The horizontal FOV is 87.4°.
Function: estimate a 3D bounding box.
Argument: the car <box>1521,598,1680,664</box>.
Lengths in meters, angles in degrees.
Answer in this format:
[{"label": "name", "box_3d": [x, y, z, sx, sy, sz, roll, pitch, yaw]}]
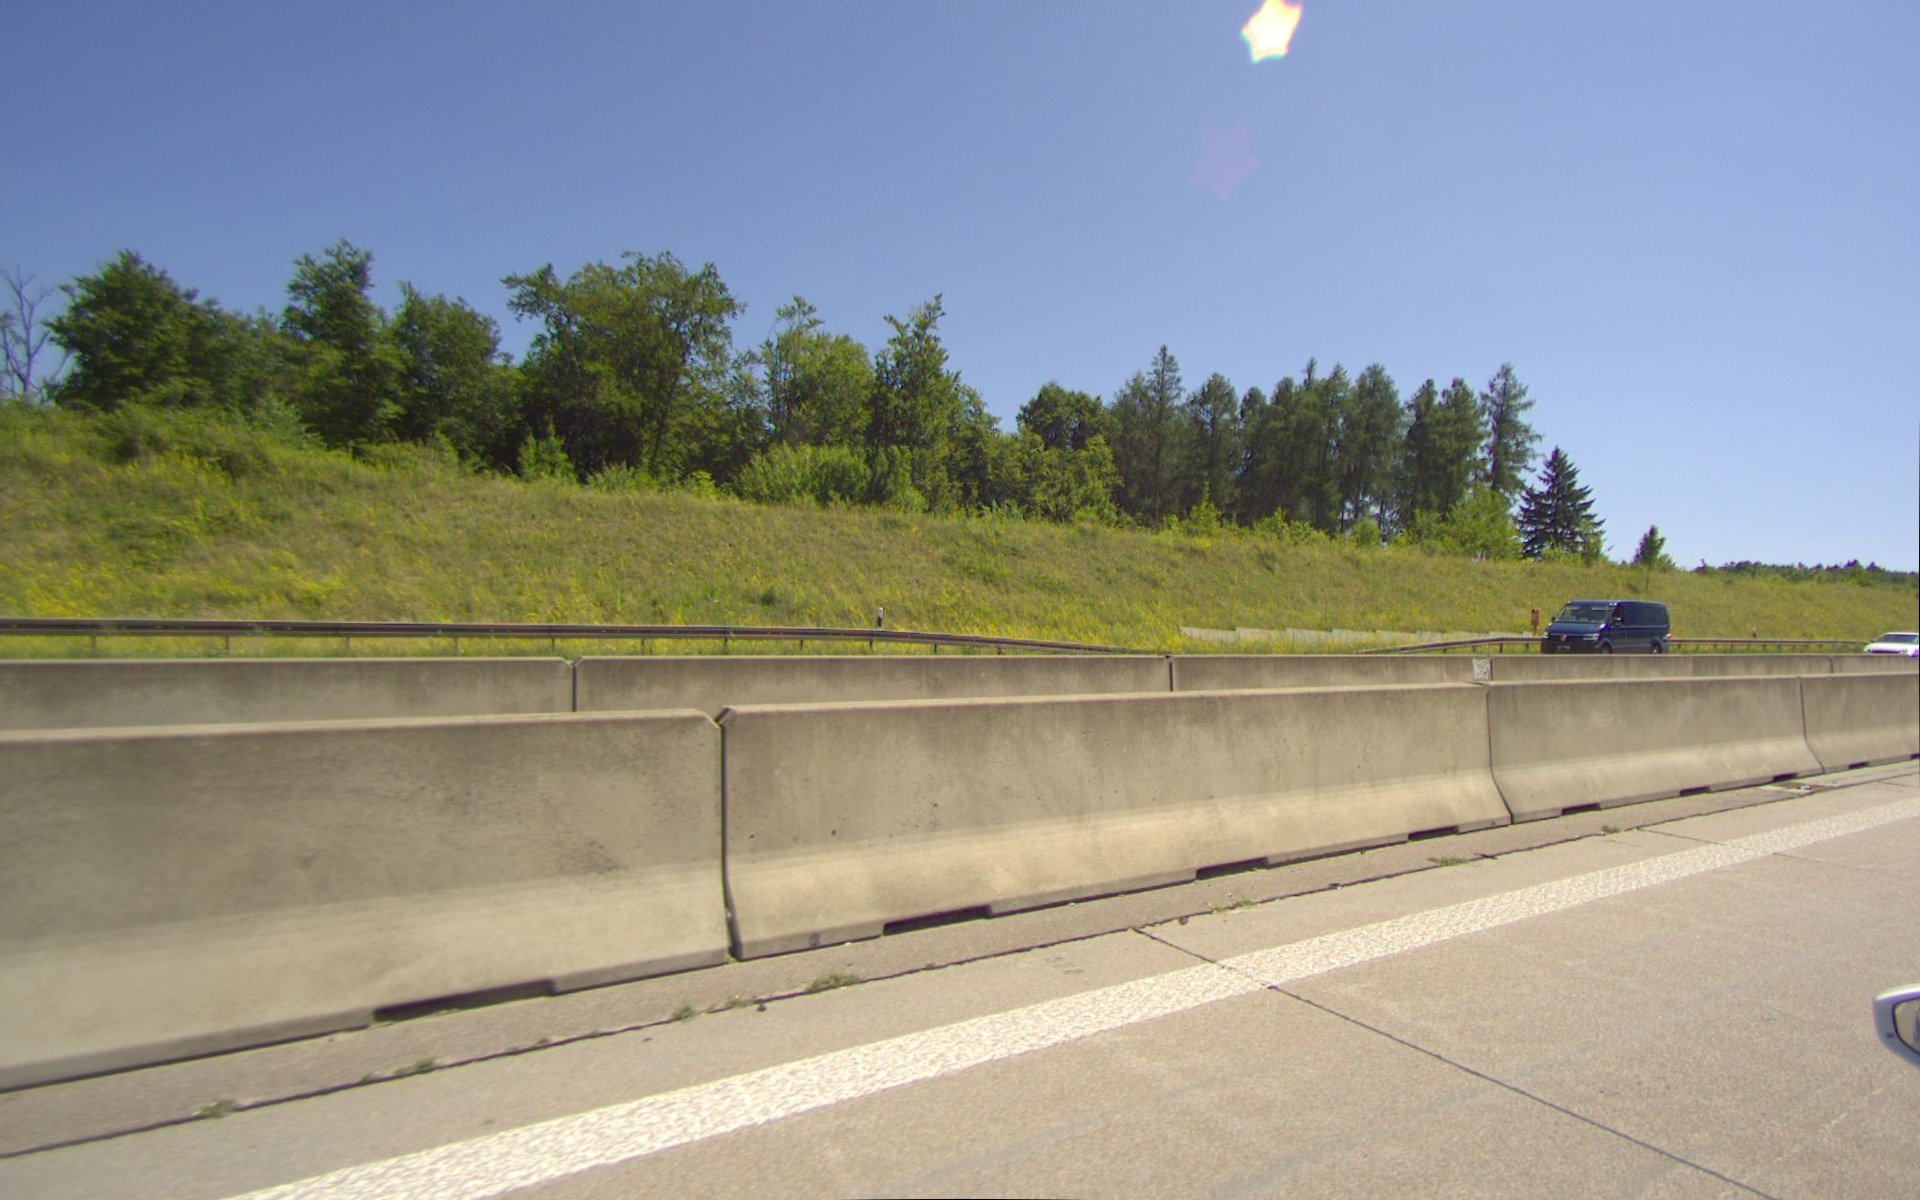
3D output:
[{"label": "car", "box_3d": [23.691, 1.124, 37.080, 6.387, 2.239, 2.467, 2, 0, -32]}]

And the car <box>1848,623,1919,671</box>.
[{"label": "car", "box_3d": [39.138, 1.946, 41.807, 4.800, 1.831, 1.997, 2, 0, -32]}]
